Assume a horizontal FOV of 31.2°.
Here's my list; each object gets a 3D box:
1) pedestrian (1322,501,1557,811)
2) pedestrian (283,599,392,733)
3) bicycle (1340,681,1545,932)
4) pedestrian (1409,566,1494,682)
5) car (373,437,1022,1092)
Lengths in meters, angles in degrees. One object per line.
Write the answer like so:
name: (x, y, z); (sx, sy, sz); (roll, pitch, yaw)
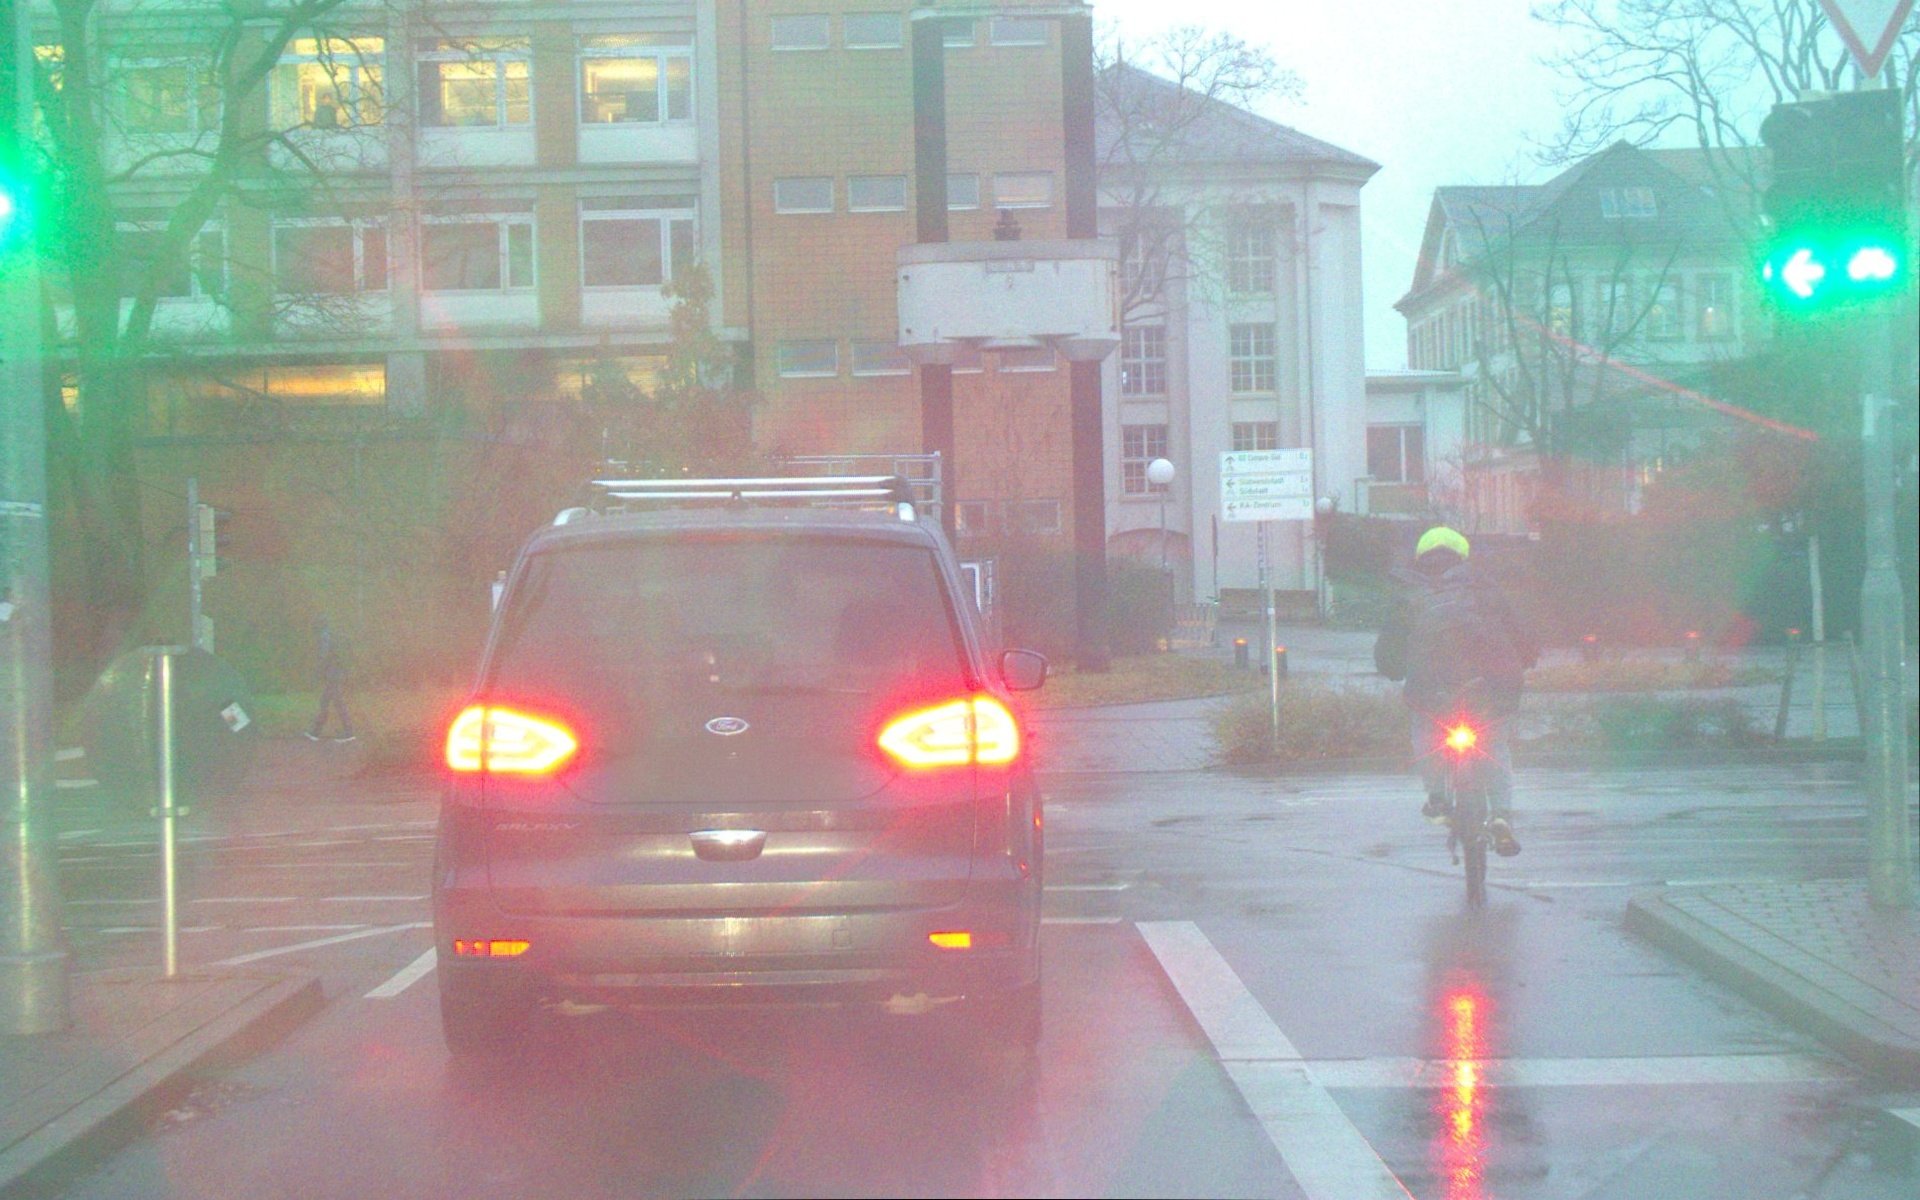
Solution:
pedestrian: (2.128, 0.238, 15.353); (0.874, 1.312, 0.848); (-2, 0, -1)
pedestrian: (-8.151, 0.859, 45.028); (1.068, 1.682, 0.809); (-2, 2, 20)
bicycle: (2.115, 0.882, 15.296); (0.561, 0.943, 2.095); (-2, 1, -1)
pedestrian: (7.394, 0.353, 51.700); (0.912, 1.682, 0.925); (2, 3, 42)
car: (-0.738, 0.476, 11.761); (1.778, 1.794, 4.424); (-1, -1, 0)
